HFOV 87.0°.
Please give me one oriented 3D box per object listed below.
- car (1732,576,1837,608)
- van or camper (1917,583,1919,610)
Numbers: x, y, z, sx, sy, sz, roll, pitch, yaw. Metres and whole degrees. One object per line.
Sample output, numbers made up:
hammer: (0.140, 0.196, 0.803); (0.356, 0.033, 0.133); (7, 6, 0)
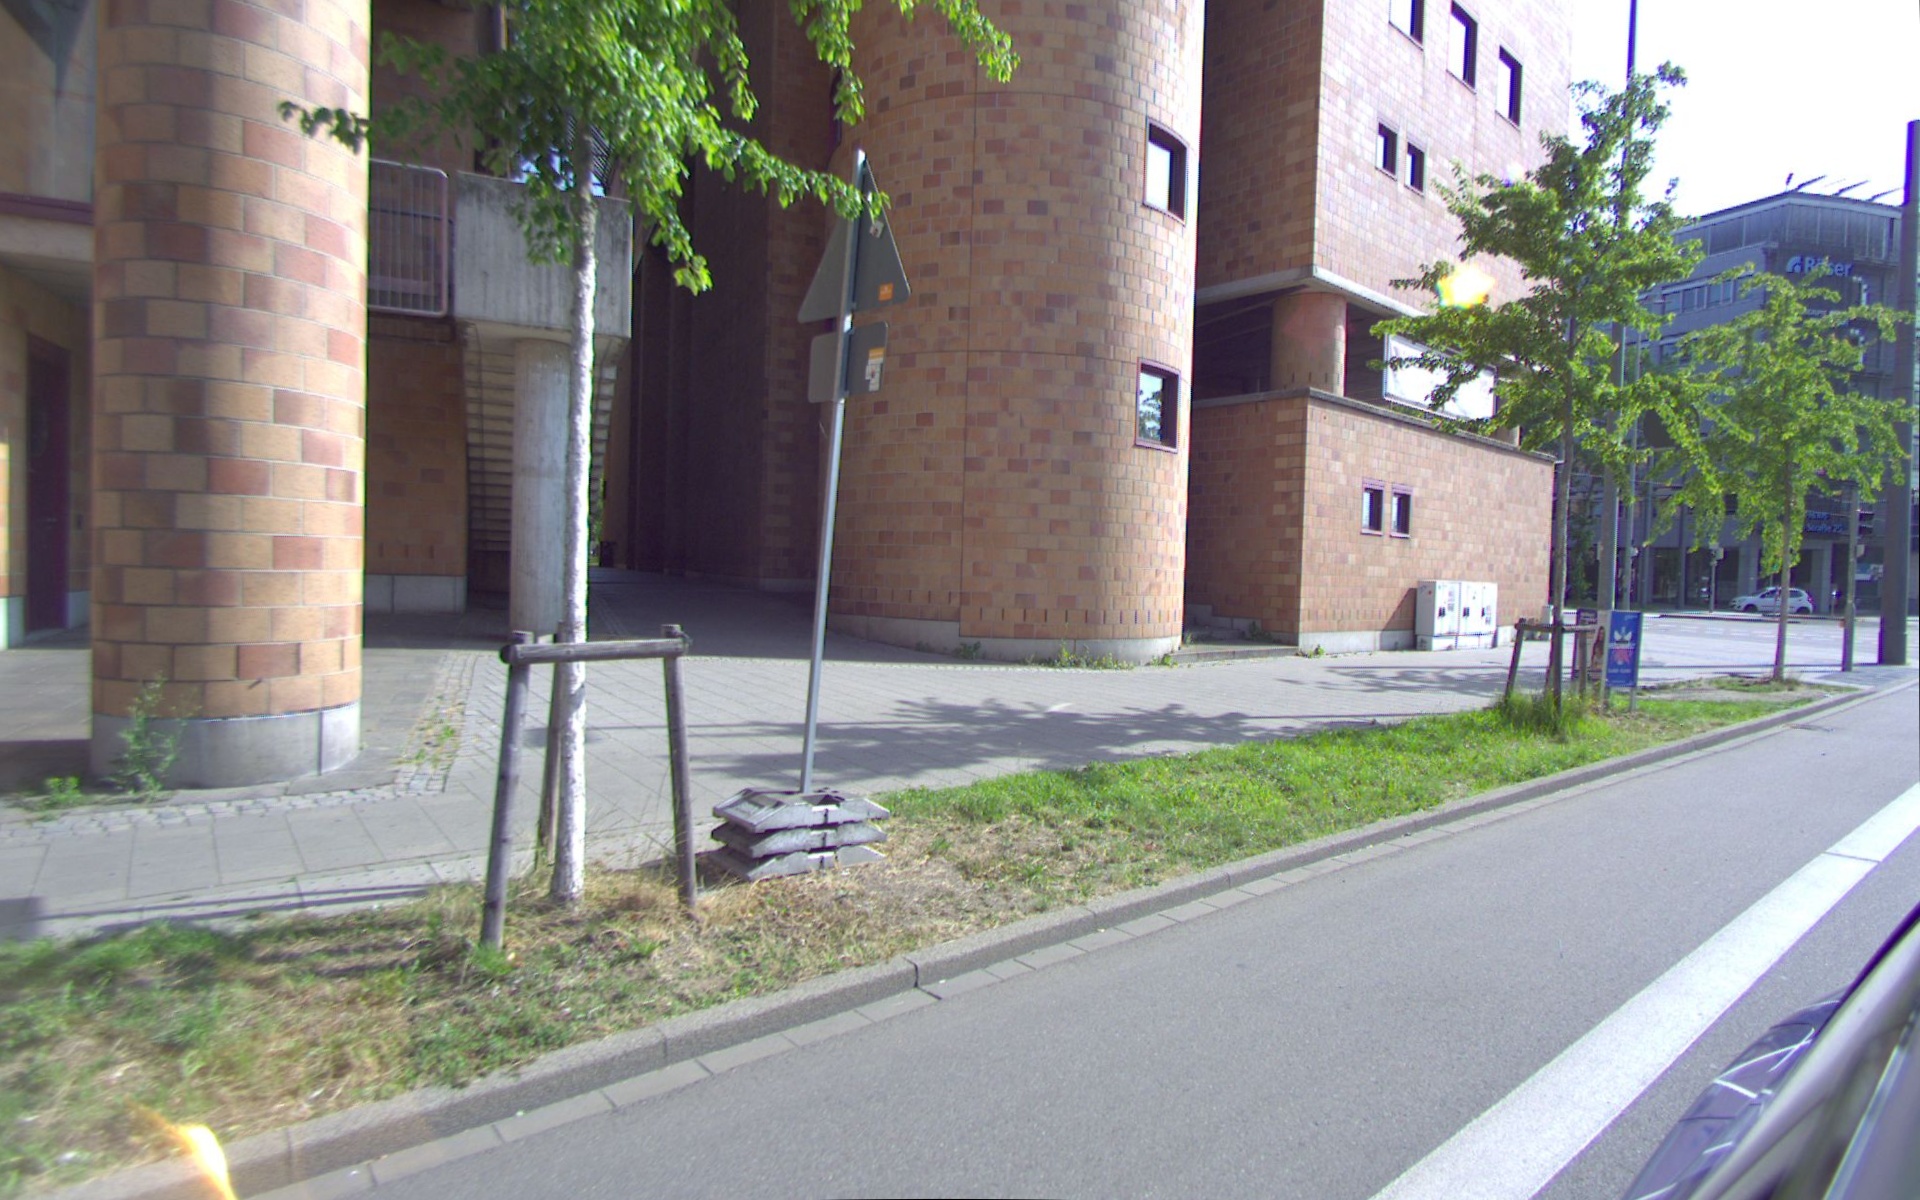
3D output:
car: (44.661, -0.456, 54.939); (3.961, 1.548, 1.982); (3, 3, 27)
van or camper: (54.109, -0.087, 54.377); (4.125, 1.459, 2.005); (1, 2, -15)
